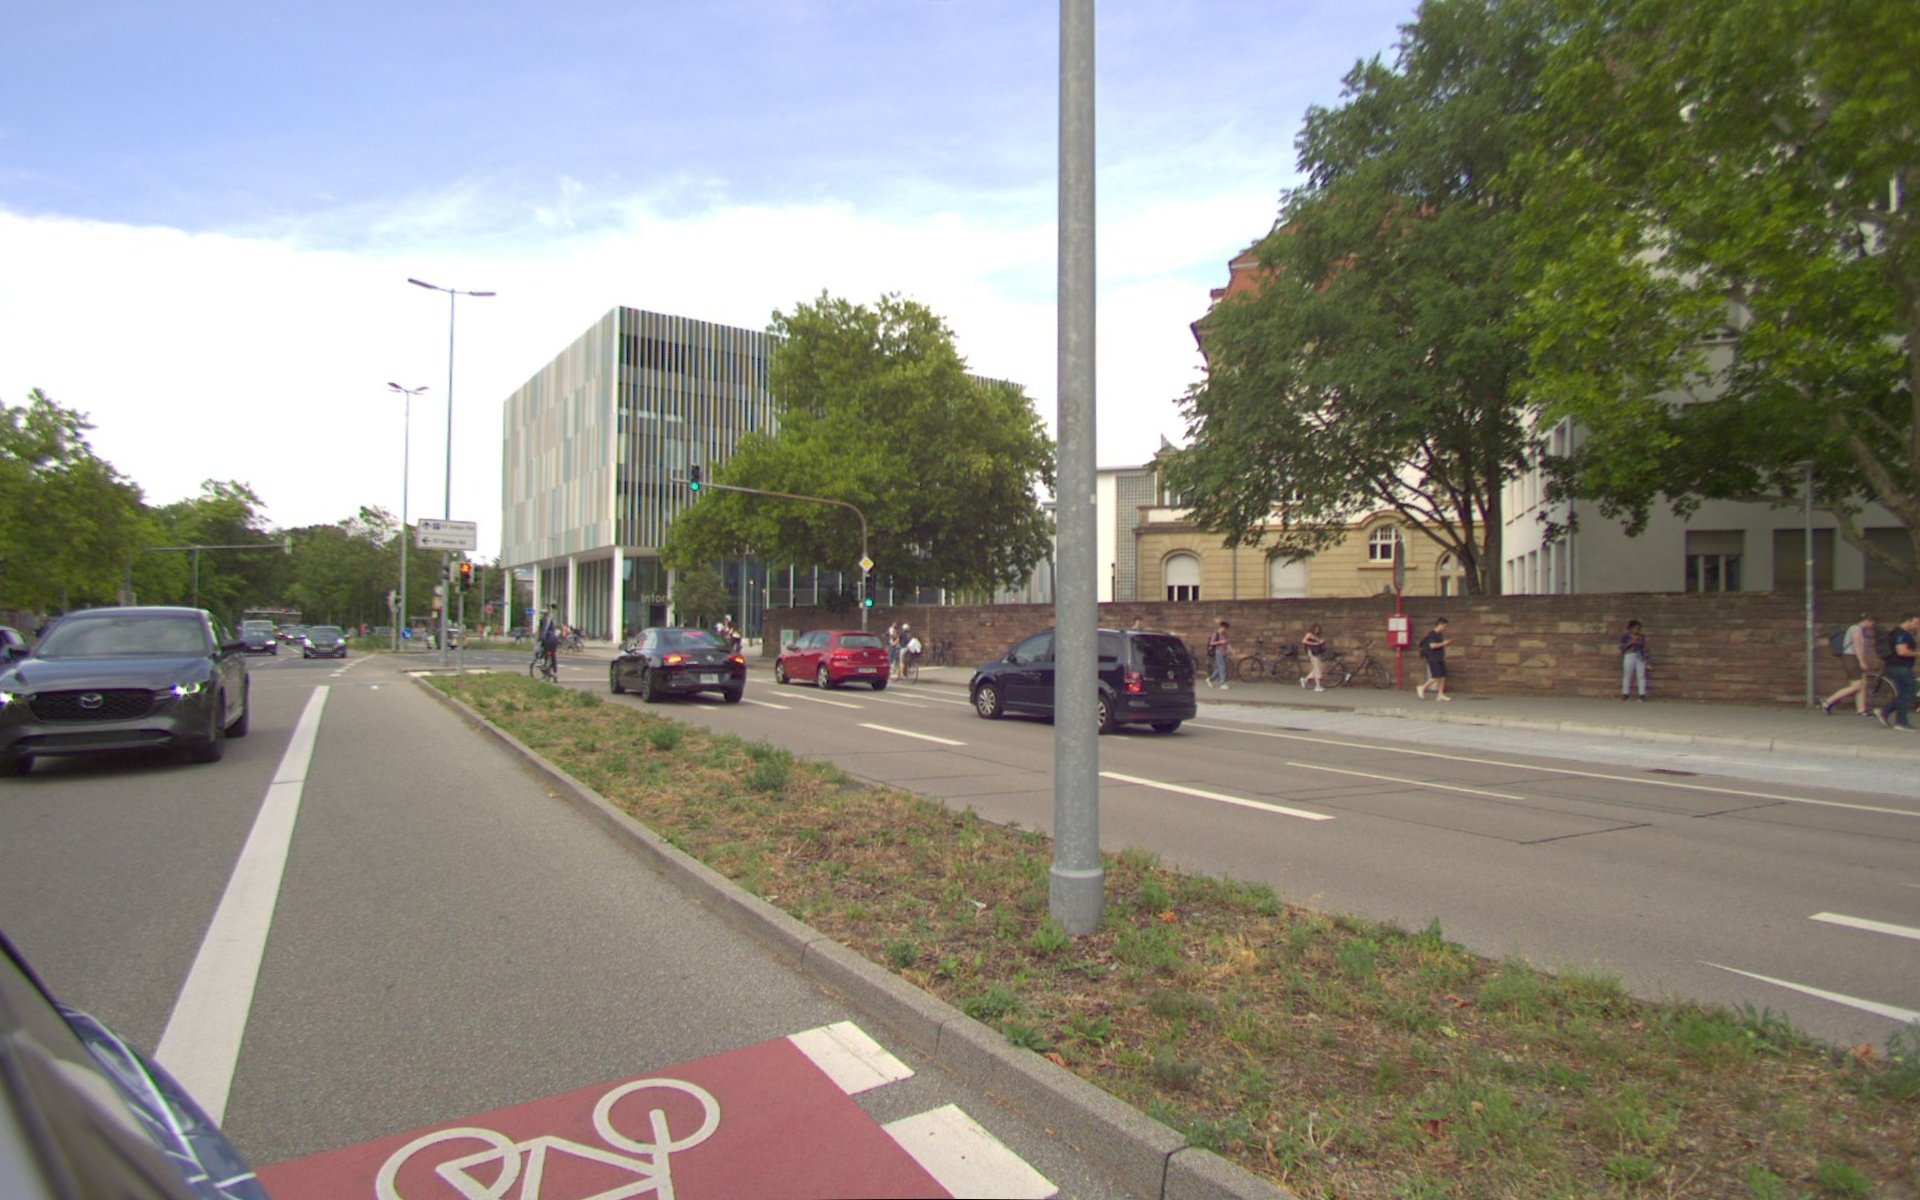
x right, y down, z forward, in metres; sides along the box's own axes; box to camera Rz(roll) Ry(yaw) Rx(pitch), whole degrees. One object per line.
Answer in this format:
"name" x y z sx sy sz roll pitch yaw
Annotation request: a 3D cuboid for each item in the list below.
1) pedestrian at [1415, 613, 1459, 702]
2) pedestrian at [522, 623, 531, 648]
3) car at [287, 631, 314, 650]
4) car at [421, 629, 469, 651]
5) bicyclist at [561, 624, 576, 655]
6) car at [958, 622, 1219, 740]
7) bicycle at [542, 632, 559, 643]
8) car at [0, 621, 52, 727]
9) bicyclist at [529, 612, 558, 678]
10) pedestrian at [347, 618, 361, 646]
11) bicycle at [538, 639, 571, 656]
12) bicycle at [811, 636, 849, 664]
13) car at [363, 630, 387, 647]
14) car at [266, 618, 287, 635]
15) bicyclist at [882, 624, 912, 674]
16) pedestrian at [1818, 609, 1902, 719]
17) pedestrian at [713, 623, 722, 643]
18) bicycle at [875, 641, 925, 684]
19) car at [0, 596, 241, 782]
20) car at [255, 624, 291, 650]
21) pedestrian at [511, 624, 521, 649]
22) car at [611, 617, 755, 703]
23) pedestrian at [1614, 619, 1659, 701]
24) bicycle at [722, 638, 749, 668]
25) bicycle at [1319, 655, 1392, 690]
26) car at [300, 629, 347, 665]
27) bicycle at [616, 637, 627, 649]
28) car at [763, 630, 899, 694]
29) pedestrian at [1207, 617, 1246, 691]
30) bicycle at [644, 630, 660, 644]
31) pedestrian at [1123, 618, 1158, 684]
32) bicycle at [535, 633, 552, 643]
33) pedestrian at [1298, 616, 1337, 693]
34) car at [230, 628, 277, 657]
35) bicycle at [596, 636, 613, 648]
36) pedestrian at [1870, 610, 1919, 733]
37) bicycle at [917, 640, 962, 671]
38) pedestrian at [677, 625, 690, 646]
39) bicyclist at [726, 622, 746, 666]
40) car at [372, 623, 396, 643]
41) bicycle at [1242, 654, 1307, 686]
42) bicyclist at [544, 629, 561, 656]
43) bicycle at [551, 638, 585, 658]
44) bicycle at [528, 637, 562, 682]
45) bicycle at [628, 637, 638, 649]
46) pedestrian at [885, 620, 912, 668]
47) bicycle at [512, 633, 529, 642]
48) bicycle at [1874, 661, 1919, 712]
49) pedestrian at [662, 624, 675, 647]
"pedestrian" 9.960 1.177 21.126 0.781 1.796 0.753 1 -1 30
"pedestrian" -33.144 2.724 77.305 0.504 1.851 0.626 2 -3 -35
"car" -54.184 3.284 83.127 1.635 1.475 4.009 -1 -1 -37
"car" -36.431 2.839 71.587 1.780 1.500 4.419 2 -3 -44
"bicyclist" -23.816 2.402 61.530 0.561 1.820 0.593 -1 -3 40
"car" 1.967 1.258 16.721 1.778 1.678 4.310 4 -4 -36
"bicycle" -41.511 3.818 102.519 1.557 1.031 0.390 -1 -1 -40
"car" -14.643 1.050 14.451 1.675 1.505 3.844 1 -2 -29
"bicyclist" -10.180 1.098 24.721 0.564 1.586 0.701 1 -2 -28
"pedestrian" -41.651 2.207 69.558 0.716 1.867 1.067 1 -2 -37
"bicycle" -25.844 3.012 64.467 0.728 0.996 1.797 -2 -1 41
"bicycle" -5.538 2.118 43.086 0.570 1.134 2.170 -2 0 -36
"car" -57.717 3.779 99.854 1.777 1.523 4.114 2 -1 -34
"car" -77.283 3.023 114.448 1.836 1.896 4.011 2 -2 -32
"bicyclist" -1.833 1.422 29.456 0.572 1.430 0.813 1 -2 -29
"pedestrian" 15.246 1.053 17.163 0.911 1.796 0.753 1 -1 30
"pedestrian" -21.864 3.000 91.152 0.630 1.792 0.594 0 -2 10
"bicycle" -1.758 1.793 29.354 0.573 1.179 1.970 2 -2 -31
"car" -9.323 0.865 11.367 1.874 1.661 4.657 1 -2 -34
"car" -47.730 2.559 70.296 1.967 1.785 4.010 2 -3 -35
"pedestrian" -33.702 2.787 76.784 0.504 1.851 0.774 2 -3 -35
"car" -5.593 1.128 20.053 1.776 1.500 4.419 1 -2 -28
"pedestrian" 13.646 1.194 20.401 0.734 1.604 0.581 0 -1 36
"bicycle" -9.347 2.197 42.109 0.610 1.226 2.051 1 -2 -27
"bicycle" 9.798 1.789 25.110 0.435 0.803 1.623 -1 -2 -41
"car" -29.542 2.139 47.044 1.633 1.475 4.012 -1 0 -30
"bicycle" -28.129 3.541 84.171 0.388 0.944 1.598 -1 -1 -2
"car" -3.422 1.543 26.160 1.777 1.500 4.300 1 -2 -33
"pedestrian" 6.661 1.326 25.253 0.780 1.796 0.754 1 -1 28
"bicycle" -24.858 2.999 81.732 0.391 1.037 1.537 -2 -1 17
"pedestrian" 5.040 1.401 28.197 0.779 1.796 0.740 1 -1 26
"bicycle" -43.044 3.902 104.532 1.557 1.031 0.390 -1 -1 -40
"pedestrian" 8.640 1.297 24.462 0.780 1.796 0.754 1 -1 27
"car" -37.602 2.226 53.843 1.636 1.475 4.006 2 -3 -41
"bicycle" -29.947 3.563 85.350 0.391 0.944 1.599 -2 -1 21
"pedestrian" 14.312 1.063 15.283 0.720 1.796 0.752 1 1 34
"bicycle" -0.758 2.035 37.284 0.541 1.066 1.984 -2 0 -38
"pedestrian" -21.229 2.727 77.740 0.674 1.612 0.724 -1 -2 24
"bicyclist" -9.286 1.820 42.012 0.609 1.796 0.814 1 -2 -27
"car" -44.130 2.529 77.536 1.550 1.500 3.647 0 -2 -30
"bicycle" 8.318 1.843 26.830 0.435 0.803 1.623 -1 -2 -41
"bicyclist" -25.930 2.686 64.379 0.723 1.685 0.718 -1 -1 41
"bicycle" -23.811 2.900 61.541 0.606 1.179 1.870 -2 -3 40
"bicycle" -10.169 1.432 24.767 0.565 1.063 1.932 1 -2 -28
"bicycle" -27.174 3.530 84.079 0.388 0.944 1.598 -1 -1 -2
"pedestrian" -2.350 1.676 38.766 0.779 1.796 0.741 1 -1 24
"bicycle" -49.105 4.187 112.995 1.677 1.031 0.435 -1 -1 -40
"bicycle" 17.019 1.518 17.619 1.620 0.834 0.436 -1 0 41
"pedestrian" -22.438 2.728 77.991 0.674 1.753 0.725 -1 -2 21
